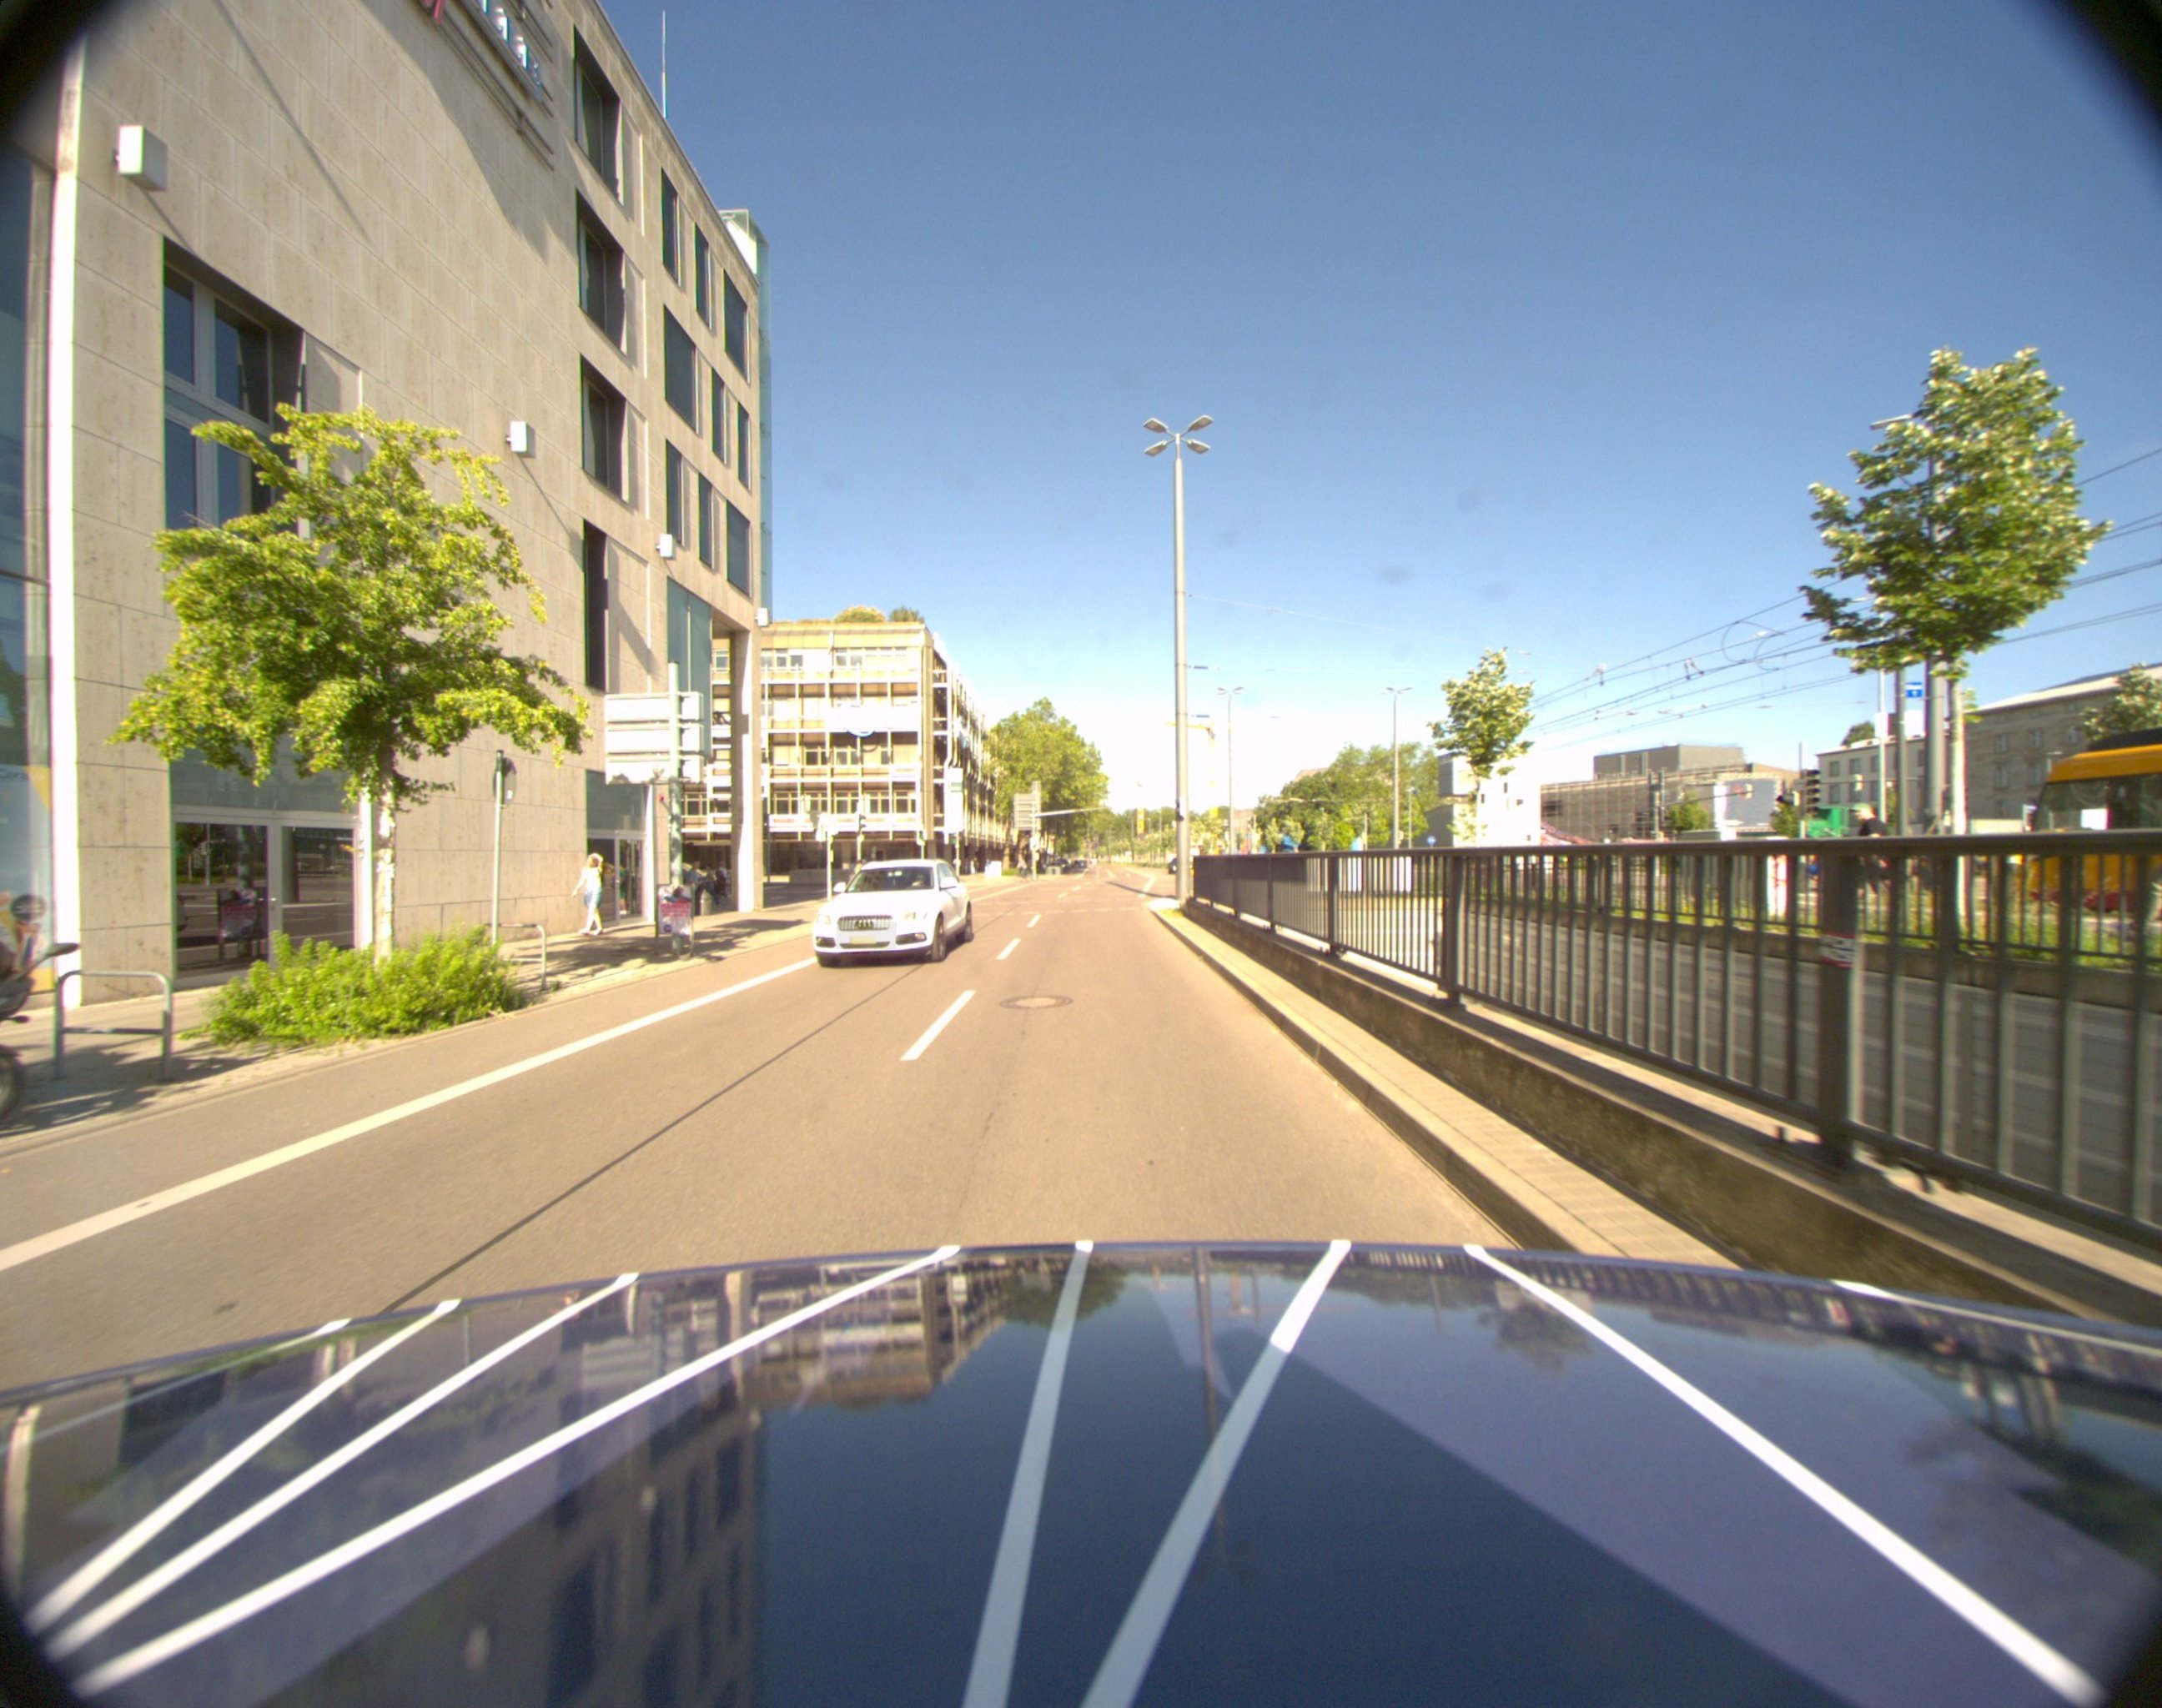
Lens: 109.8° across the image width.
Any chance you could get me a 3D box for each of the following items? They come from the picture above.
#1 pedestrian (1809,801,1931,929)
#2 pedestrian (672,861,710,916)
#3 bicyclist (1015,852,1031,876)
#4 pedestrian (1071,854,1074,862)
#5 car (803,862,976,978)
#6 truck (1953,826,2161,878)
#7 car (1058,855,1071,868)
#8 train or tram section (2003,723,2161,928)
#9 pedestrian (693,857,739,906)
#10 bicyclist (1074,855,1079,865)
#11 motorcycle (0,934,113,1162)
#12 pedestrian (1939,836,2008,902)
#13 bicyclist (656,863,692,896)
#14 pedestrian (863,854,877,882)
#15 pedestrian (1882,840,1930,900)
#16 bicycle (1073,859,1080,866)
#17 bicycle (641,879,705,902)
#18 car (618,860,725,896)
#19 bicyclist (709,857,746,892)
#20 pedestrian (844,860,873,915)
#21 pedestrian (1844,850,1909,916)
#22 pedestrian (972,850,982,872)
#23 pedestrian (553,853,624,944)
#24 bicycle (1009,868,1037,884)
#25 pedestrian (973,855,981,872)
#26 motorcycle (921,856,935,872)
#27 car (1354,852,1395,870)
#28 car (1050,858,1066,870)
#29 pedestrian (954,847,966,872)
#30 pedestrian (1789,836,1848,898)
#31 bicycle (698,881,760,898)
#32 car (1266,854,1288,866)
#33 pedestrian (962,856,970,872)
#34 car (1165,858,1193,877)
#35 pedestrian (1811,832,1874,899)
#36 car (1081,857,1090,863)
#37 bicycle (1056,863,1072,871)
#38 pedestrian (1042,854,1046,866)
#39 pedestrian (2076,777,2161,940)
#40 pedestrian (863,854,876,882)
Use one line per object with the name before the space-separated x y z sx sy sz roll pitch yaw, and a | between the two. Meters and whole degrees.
pedestrian | 11.474 0.161 11.092 0.705 1.764 0.959 -2 0 -2
pedestrian | -11.583 1.008 22.556 0.725 1.598 0.750 0 0 2
bicyclist | -4.139 0.705 54.257 0.854 1.677 0.710 -3 0 -39
pedestrian | -1.997 1.017 174.226 0.591 1.830 0.569 -1 0 1
car | -3.069 0.975 13.176 1.824 1.604 4.412 -1 0 0
truck | 55.629 -0.101 43.465 8.023 2.776 2.464 -1 0 6
car | -2.412 1.078 110.492 1.752 1.810 4.337 1 0 1
train or tram section | 18.659 -0.518 7.680 2.877 3.290 13.073 -2 0 1
pedestrian | -13.885 1.017 28.949 0.969 1.791 1.523 1 0 1
bicyclist | -0.668 0.904 114.284 0.830 1.380 0.904 -1 0 2
motorcycle | -7.643 1.204 4.751 2.193 1.316 0.903 0 1 5
pedestrian | 25.219 0.422 21.497 0.802 1.812 0.976 -1 0 -1
bicyclist | -17.666 1.104 33.005 0.935 1.388 1.077 0 0 5
pedestrian | -12.292 0.808 44.280 0.662 1.603 0.526 1 1 -8
pedestrian | 25.294 0.490 23.322 0.800 1.812 0.884 0 0 33
bicycle | -0.672 1.292 114.283 0.845 1.123 2.553 -1 0 2
bicycle | -17.701 1.565 33.006 2.197 0.938 1.072 0 0 5
car | -19.860 1.137 36.949 4.194 1.603 1.861 0 2 3
bicyclist | -15.238 0.871 32.803 1.024 1.467 1.072 0 0 5
pedestrian | -6.988 1.033 23.914 0.658 1.692 0.698 2 0 -1
pedestrian | 22.343 0.803 21.362 0.802 1.812 0.976 -1 0 -1
pedestrian | -9.812 0.680 71.720 0.949 2.002 1.079 -1 0 -6
pedestrian | -10.100 0.891 15.634 0.729 1.791 1.066 1 0 1
bicycle | -4.135 1.561 54.215 1.927 0.987 0.710 -3 0 -41
pedestrian | -10.322 0.946 75.247 0.667 1.591 0.728 2 0 2
motorcycle | -14.429 0.922 71.765 0.825 1.433 2.122 -1 0 2
car | 27.480 0.637 71.327 1.998 1.552 4.830 -1 0 1
car | -2.918 1.331 98.001 1.752 1.481 4.560 1 0 1
pedestrian | -9.953 0.450 62.502 0.950 2.002 1.078 -1 0 -10
pedestrian | 22.280 0.391 22.973 0.802 1.812 0.976 -1 0 -1
bicycle | -15.192 1.539 32.818 2.197 0.667 1.072 0 0 5
car | 28.025 0.794 108.827 1.998 1.697 4.560 -1 0 1
pedestrian | -11.426 0.959 75.444 0.667 1.591 0.728 2 0 2
car | 8.946 1.186 69.563 1.775 1.579 4.087 -2 0 -2
pedestrian | 21.387 0.317 21.361 0.802 1.812 0.976 -1 0 -1
car | 1.036 1.473 184.887 1.999 1.597 3.896 -1 0 0
bicycle | -2.010 1.522 89.887 1.848 0.954 0.711 1 0 -3
pedestrian | -6.284 0.998 129.016 0.741 2.002 0.626 -1 0 2
pedestrian | 12.085 0.037 8.270 0.876 1.764 1.189 -2 0 -2
pedestrian | -12.500 0.821 44.903 0.662 1.603 0.526 1 1 -8
